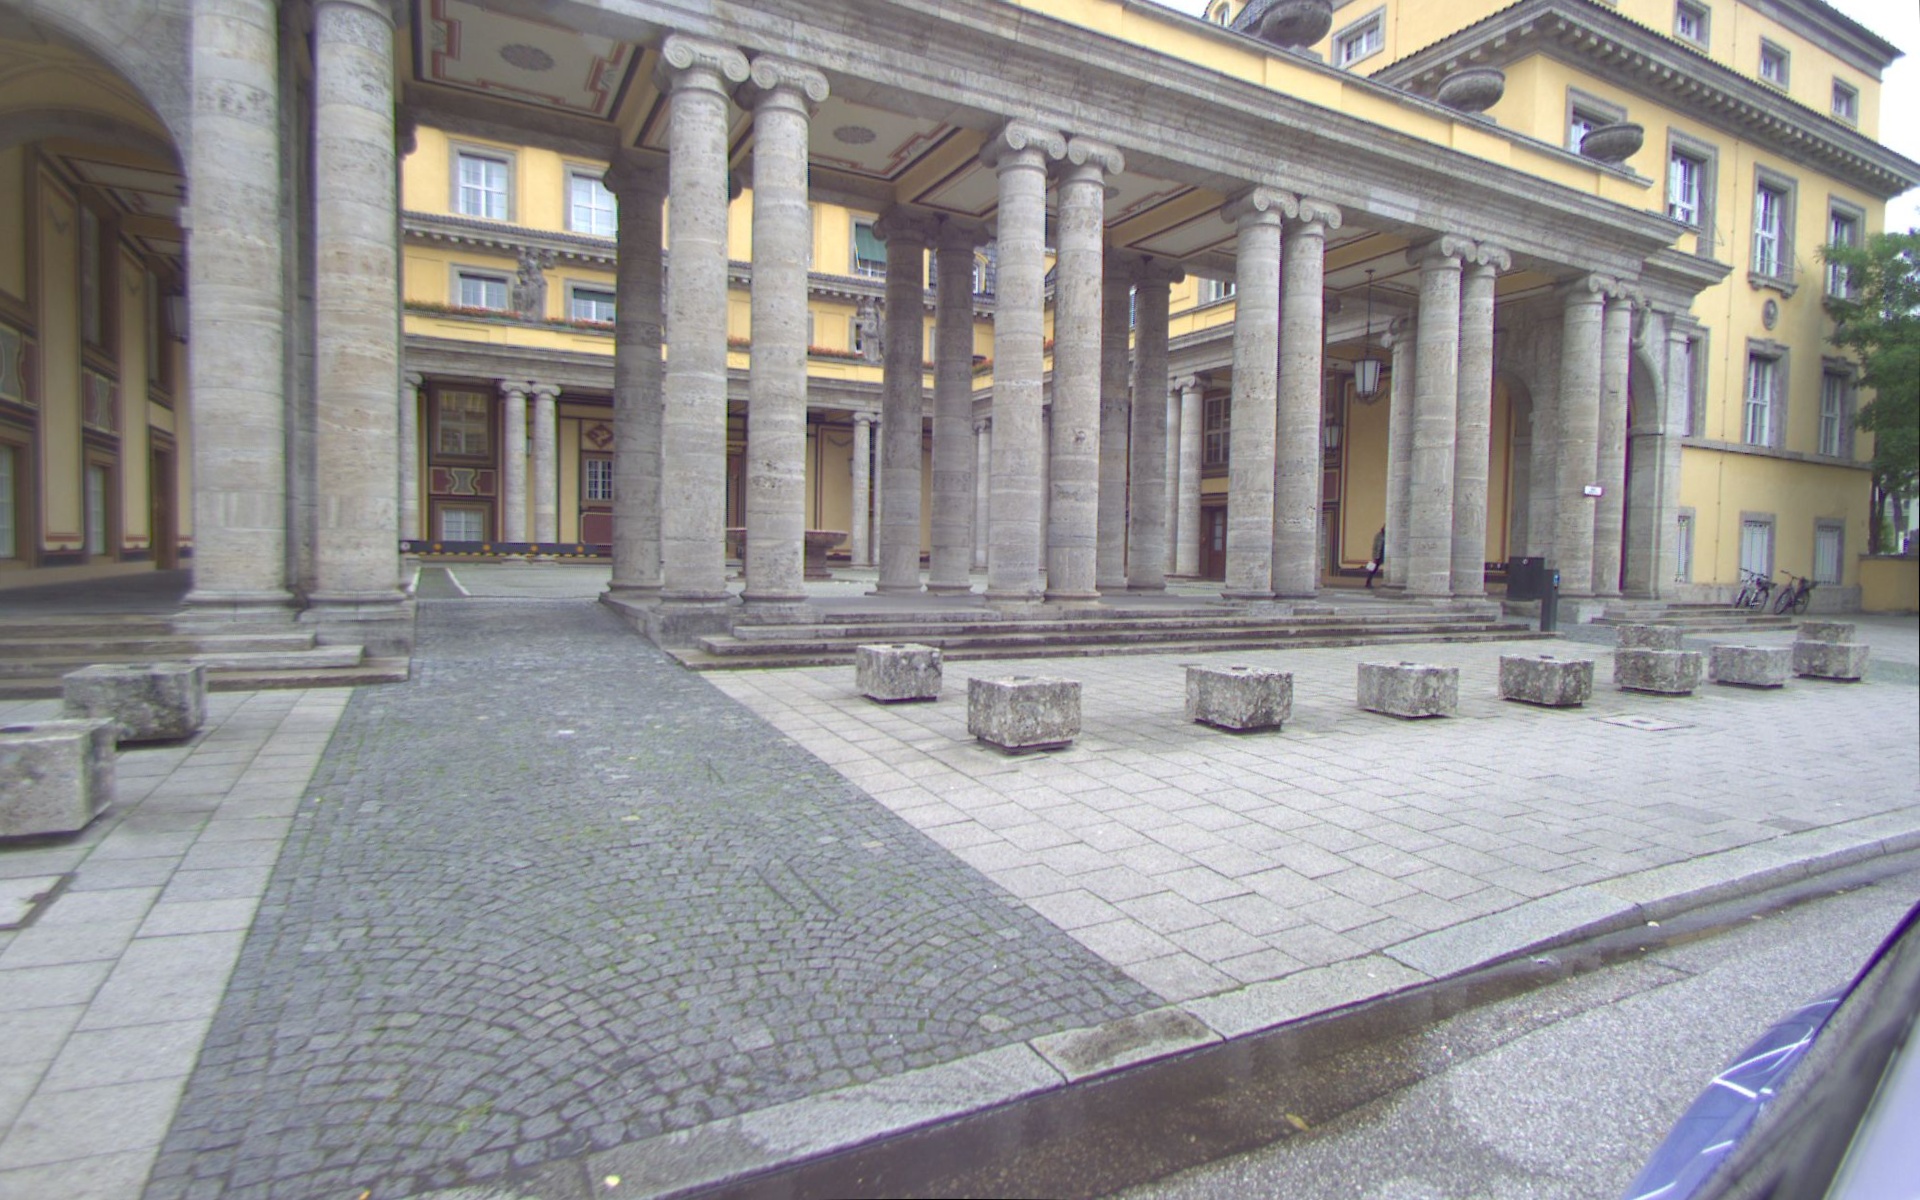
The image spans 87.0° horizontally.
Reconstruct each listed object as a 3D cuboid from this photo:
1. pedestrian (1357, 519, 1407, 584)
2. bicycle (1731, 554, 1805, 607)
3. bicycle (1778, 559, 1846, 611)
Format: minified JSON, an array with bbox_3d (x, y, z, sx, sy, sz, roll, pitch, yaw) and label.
[{"bbox_3d":[11.473,-1.302,27.544,0.792,1.742,0.983,-1,0,-39],"label":"pedestrian"},{"bbox_3d":[20.792,-0.510,26.024,2.218,1.322,0.603,0,3,-28],"label":"bicycle"},{"bbox_3d":[22.827,-0.410,27.117,2.121,1.322,0.603,0,3,-29],"label":"bicycle"}]
